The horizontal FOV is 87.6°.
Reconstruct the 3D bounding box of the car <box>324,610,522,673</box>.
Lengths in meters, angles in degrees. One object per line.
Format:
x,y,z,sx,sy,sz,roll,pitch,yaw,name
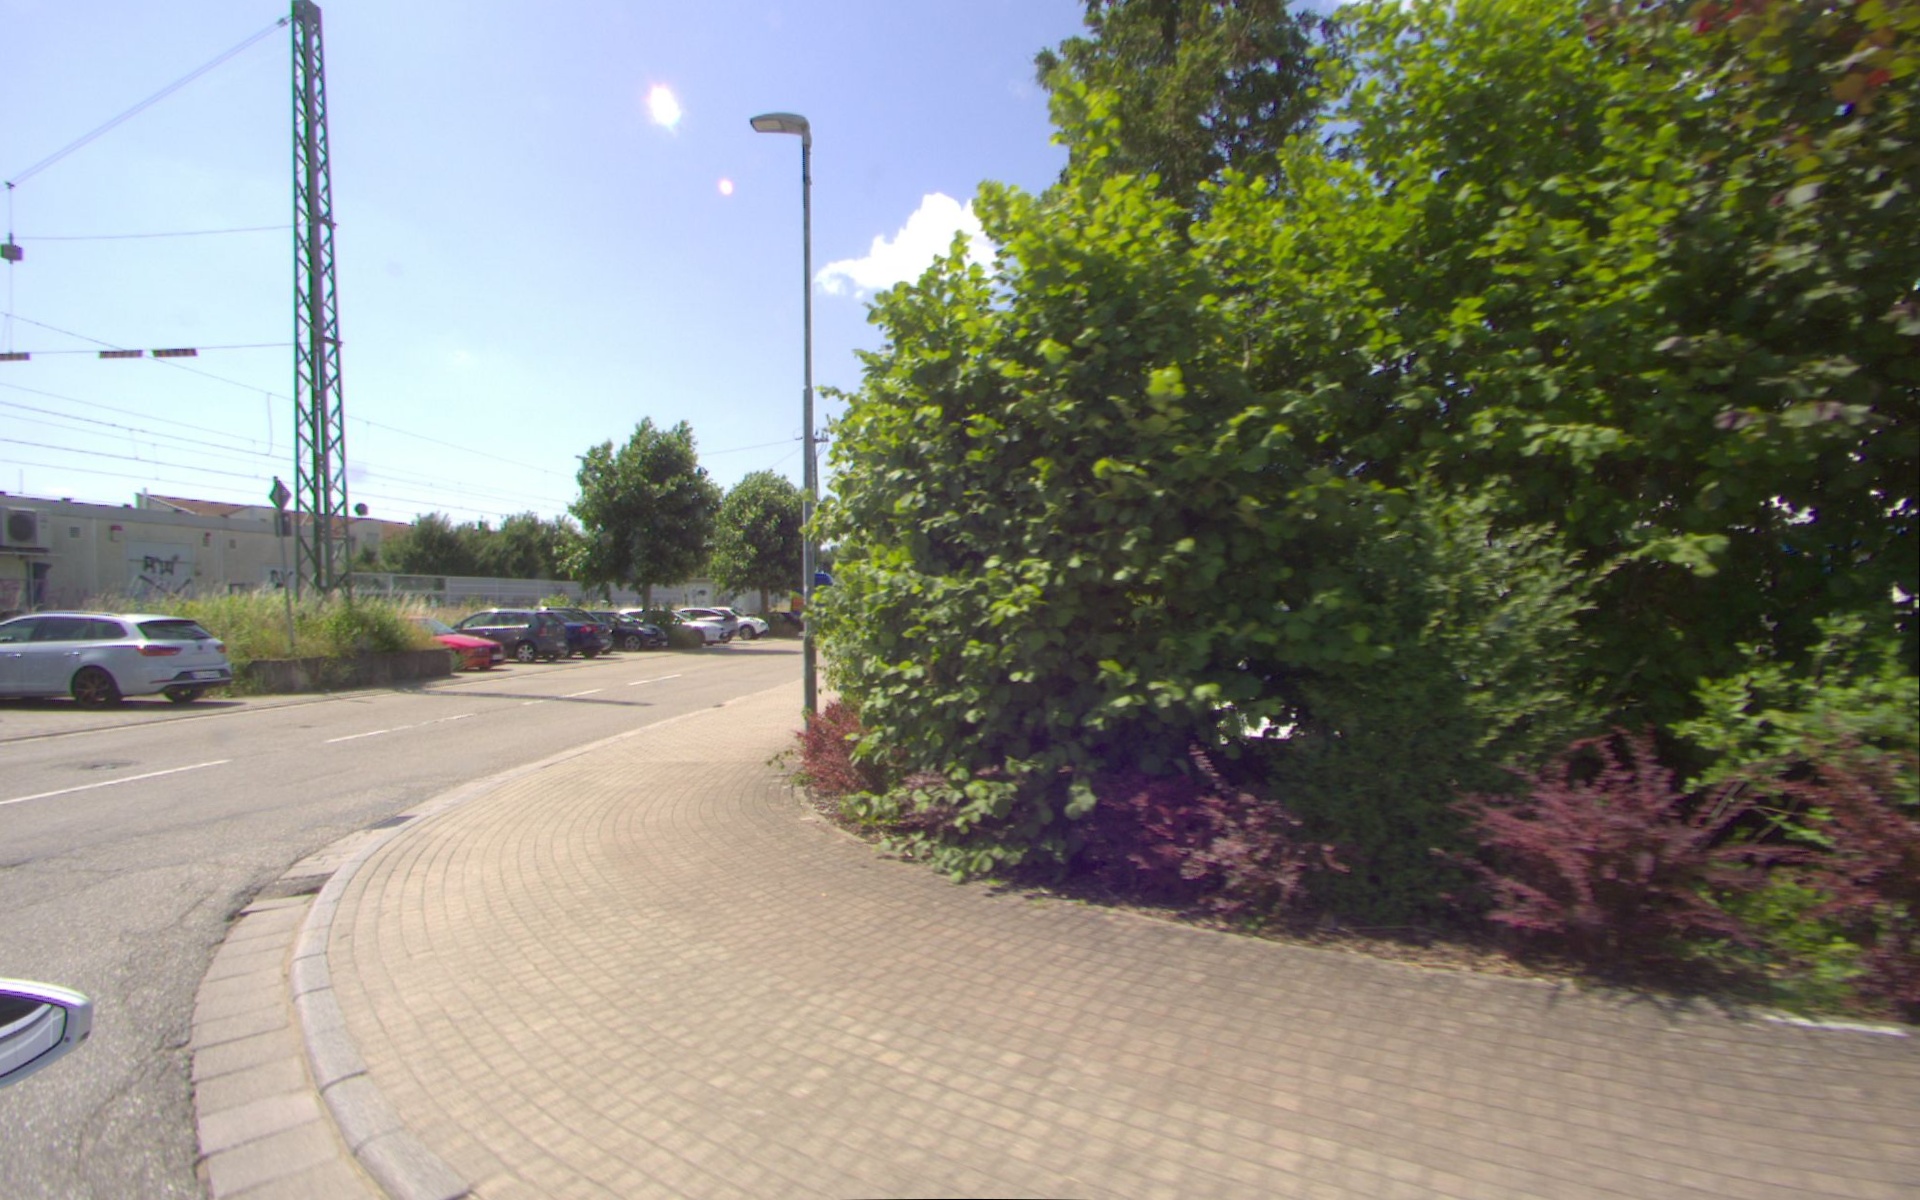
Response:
-13.144,0.997,24.630,4.007,1.387,1.673,1,1,5,car

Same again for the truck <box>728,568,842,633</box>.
-10.831,0.019,62.223,6.506,3.874,2.664,-1,0,3,truck

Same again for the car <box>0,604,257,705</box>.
-13.631,0.804,15.699,4.006,1.420,1.787,1,0,3,car

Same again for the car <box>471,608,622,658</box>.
-12.530,0.985,30.465,3.882,1.469,1.786,0,0,9,car

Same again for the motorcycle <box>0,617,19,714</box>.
-14.195,0.882,13.374,2.679,1.298,0.718,0,0,4,motorcycle

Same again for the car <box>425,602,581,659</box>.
-12.776,0.823,28.107,3.606,1.467,1.684,1,0,3,car

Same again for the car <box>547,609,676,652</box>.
-12.501,1.076,36.091,4.007,1.492,1.786,-1,0,5,car

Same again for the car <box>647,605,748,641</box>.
-11.625,1.003,44.463,3.922,1.568,2.000,0,0,3,car

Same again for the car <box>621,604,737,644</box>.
-11.683,0.971,41.786,4.267,1.553,1.926,1,0,4,car

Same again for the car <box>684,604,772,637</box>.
-11.464,1.004,49.723,3.905,1.639,1.851,0,0,1,car
